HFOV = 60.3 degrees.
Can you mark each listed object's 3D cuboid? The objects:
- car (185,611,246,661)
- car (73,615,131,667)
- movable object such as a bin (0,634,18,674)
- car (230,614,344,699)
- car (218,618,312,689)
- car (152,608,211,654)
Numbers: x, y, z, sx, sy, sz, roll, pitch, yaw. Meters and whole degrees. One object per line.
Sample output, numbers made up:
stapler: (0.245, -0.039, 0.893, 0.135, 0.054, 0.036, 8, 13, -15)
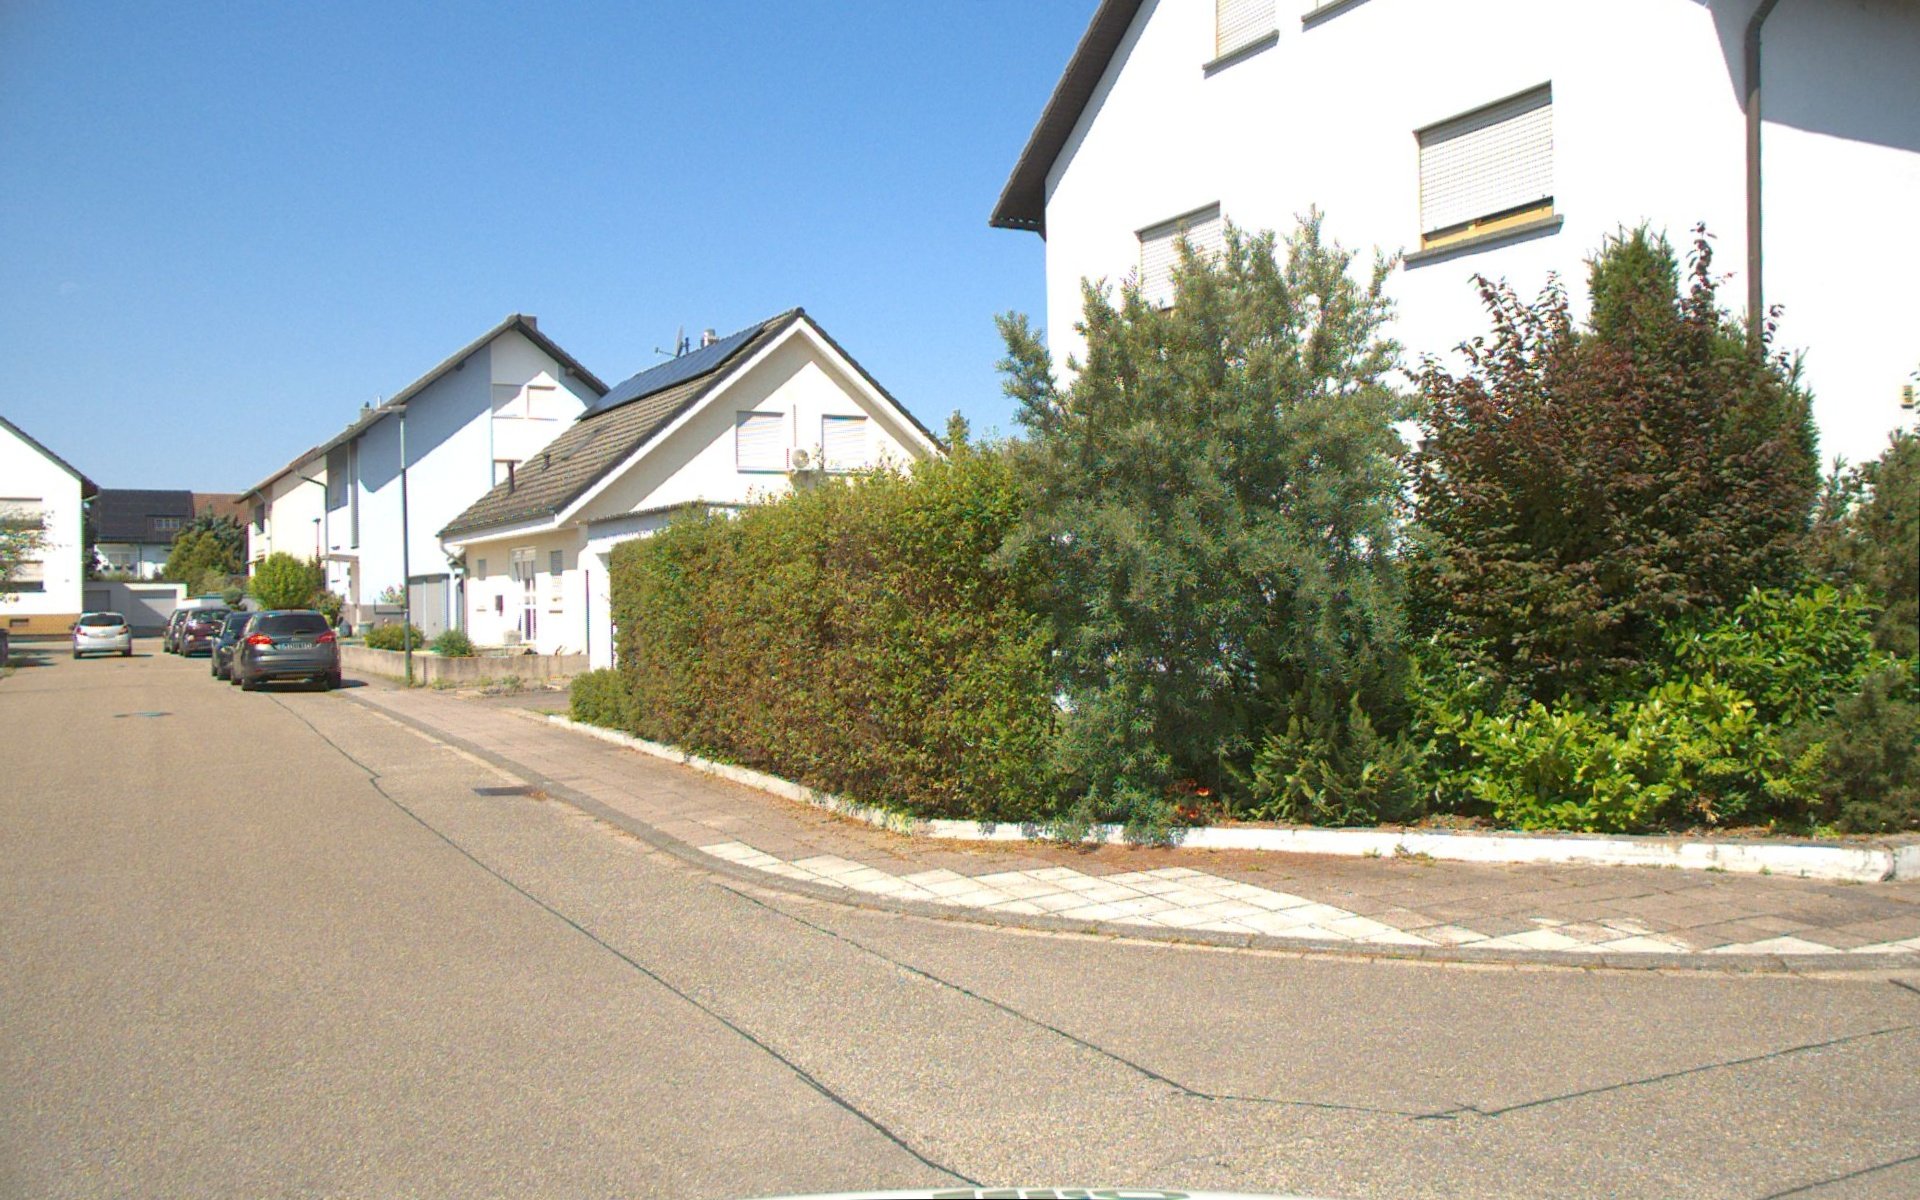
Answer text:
car: (-25.176, 1.183, 55.904, 1.626, 1.609, 4.109, -1, 0, -28)
car: (-28.596, 1.332, 55.135, 1.626, 1.609, 3.774, -1, 0, -28)
movable object such as a bin: (-26.901, 1.516, 46.396, 0.809, 1.082, 0.605, -1, 0, -29)
car: (-13.250, 1.059, 32.449, 1.624, 1.504, 3.962, 1, 0, -29)
car: (-15.810, 1.163, 37.525, 1.697, 1.464, 4.464, -1, 0, -26)
car: (-28.324, 1.112, 60.143, 1.628, 1.573, 4.007, -1, 0, -30)
